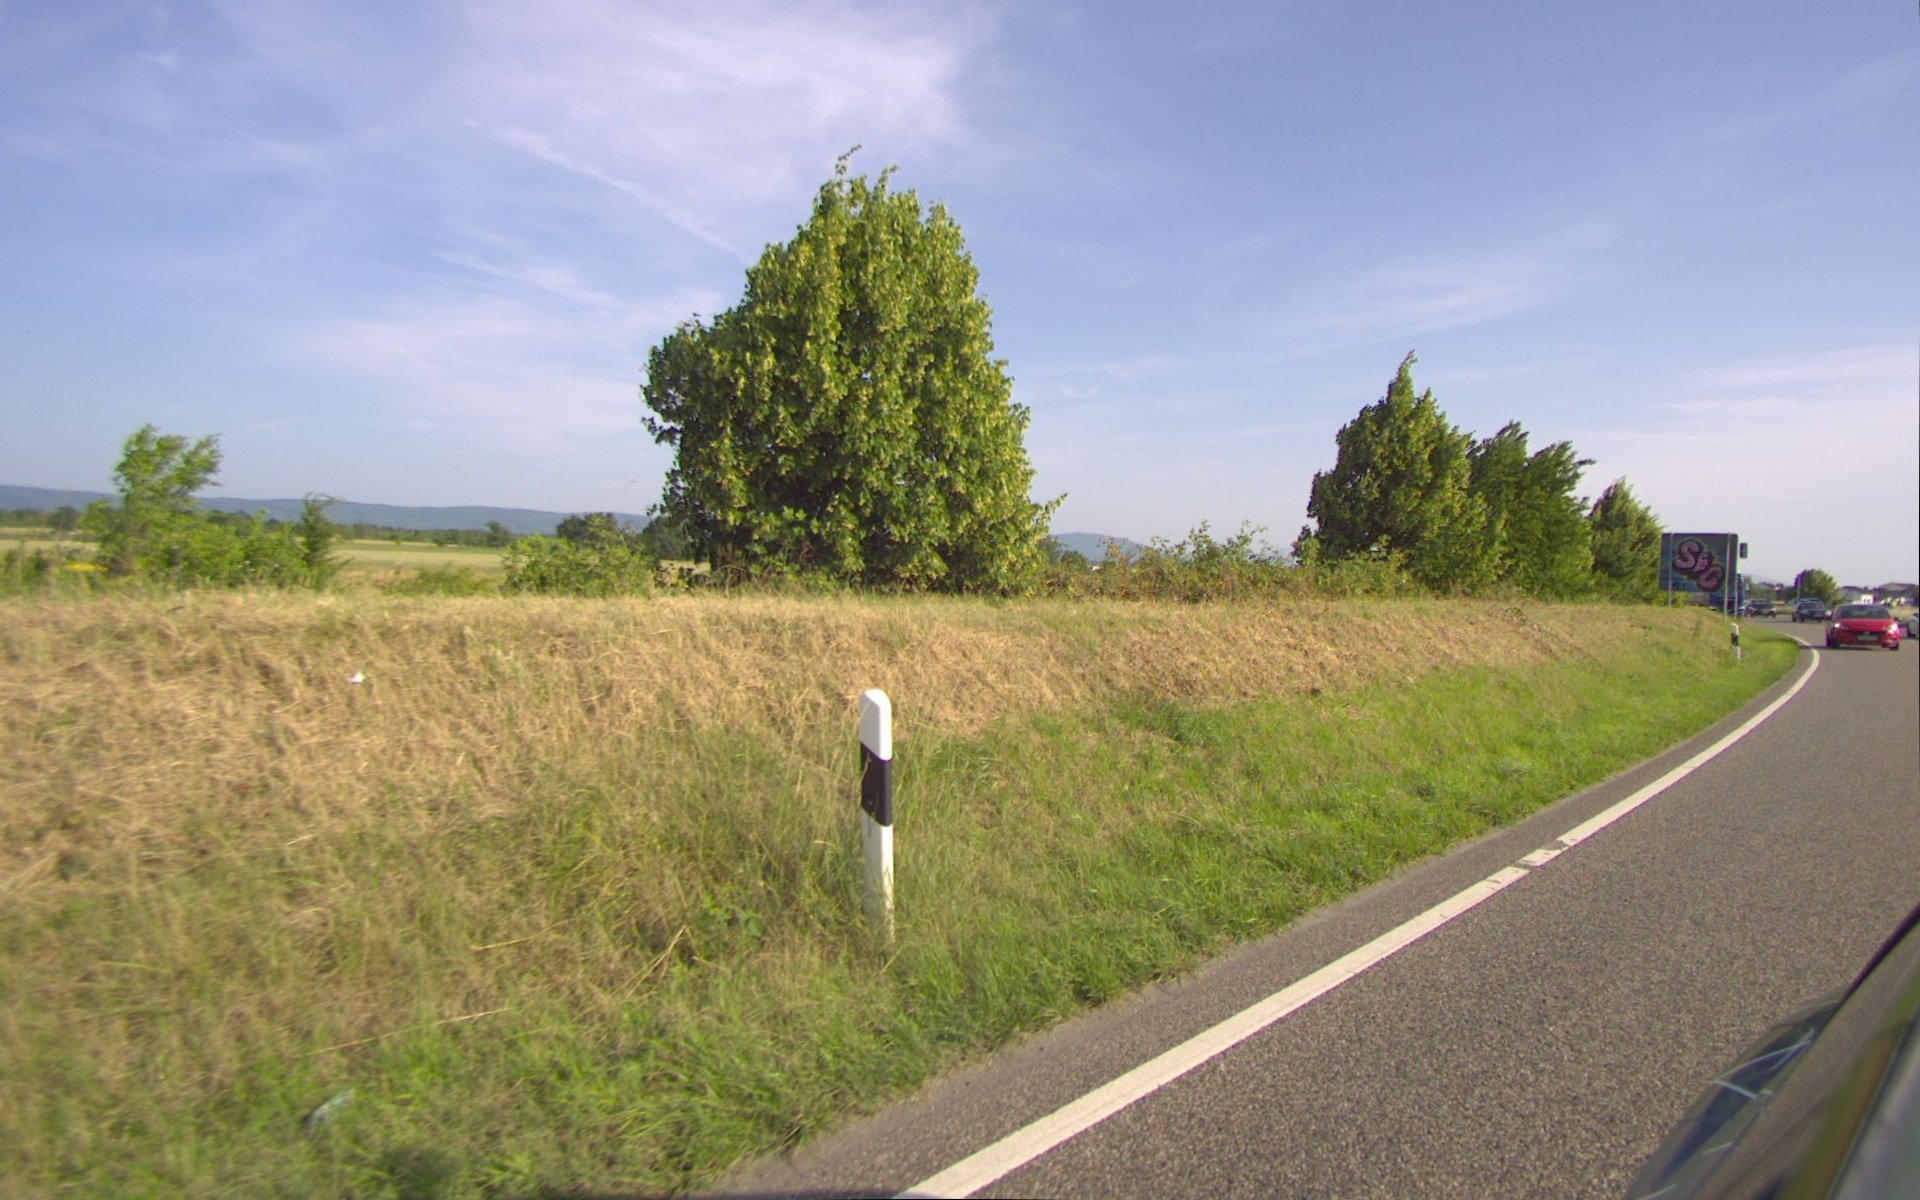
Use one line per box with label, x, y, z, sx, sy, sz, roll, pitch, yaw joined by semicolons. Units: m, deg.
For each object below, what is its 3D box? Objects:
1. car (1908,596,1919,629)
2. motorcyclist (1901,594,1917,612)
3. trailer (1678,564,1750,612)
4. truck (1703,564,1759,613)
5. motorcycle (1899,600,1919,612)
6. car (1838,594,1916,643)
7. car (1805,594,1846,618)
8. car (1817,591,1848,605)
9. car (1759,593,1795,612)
car;42.224;0.589;42.995;1.860;1.415;4.162;1;1;29
motorcyclist;88.885;0.248;94.782;0.747;1.624;1.238;1;1;27
trailer;67.613;-1.100;91.109;2.626;4.028;13.807;0;1;26
truck;64.719;-0.952;85.043;2.627;3.968;5.897;0;1;26
motorcycle;88.876;0.526;94.771;0.747;1.107;2.287;1;1;27
car;30.394;0.568;33.629;1.658;1.482;3.899;1;1;39
car;61.963;0.410;72.497;1.740;1.549;3.952;1;1;33
car;96.269;-0.236;111.698;1.696;1.544;4.093;1;1;29
car;71.416;0.221;88.481;1.817;1.549;3.958;1;1;30
